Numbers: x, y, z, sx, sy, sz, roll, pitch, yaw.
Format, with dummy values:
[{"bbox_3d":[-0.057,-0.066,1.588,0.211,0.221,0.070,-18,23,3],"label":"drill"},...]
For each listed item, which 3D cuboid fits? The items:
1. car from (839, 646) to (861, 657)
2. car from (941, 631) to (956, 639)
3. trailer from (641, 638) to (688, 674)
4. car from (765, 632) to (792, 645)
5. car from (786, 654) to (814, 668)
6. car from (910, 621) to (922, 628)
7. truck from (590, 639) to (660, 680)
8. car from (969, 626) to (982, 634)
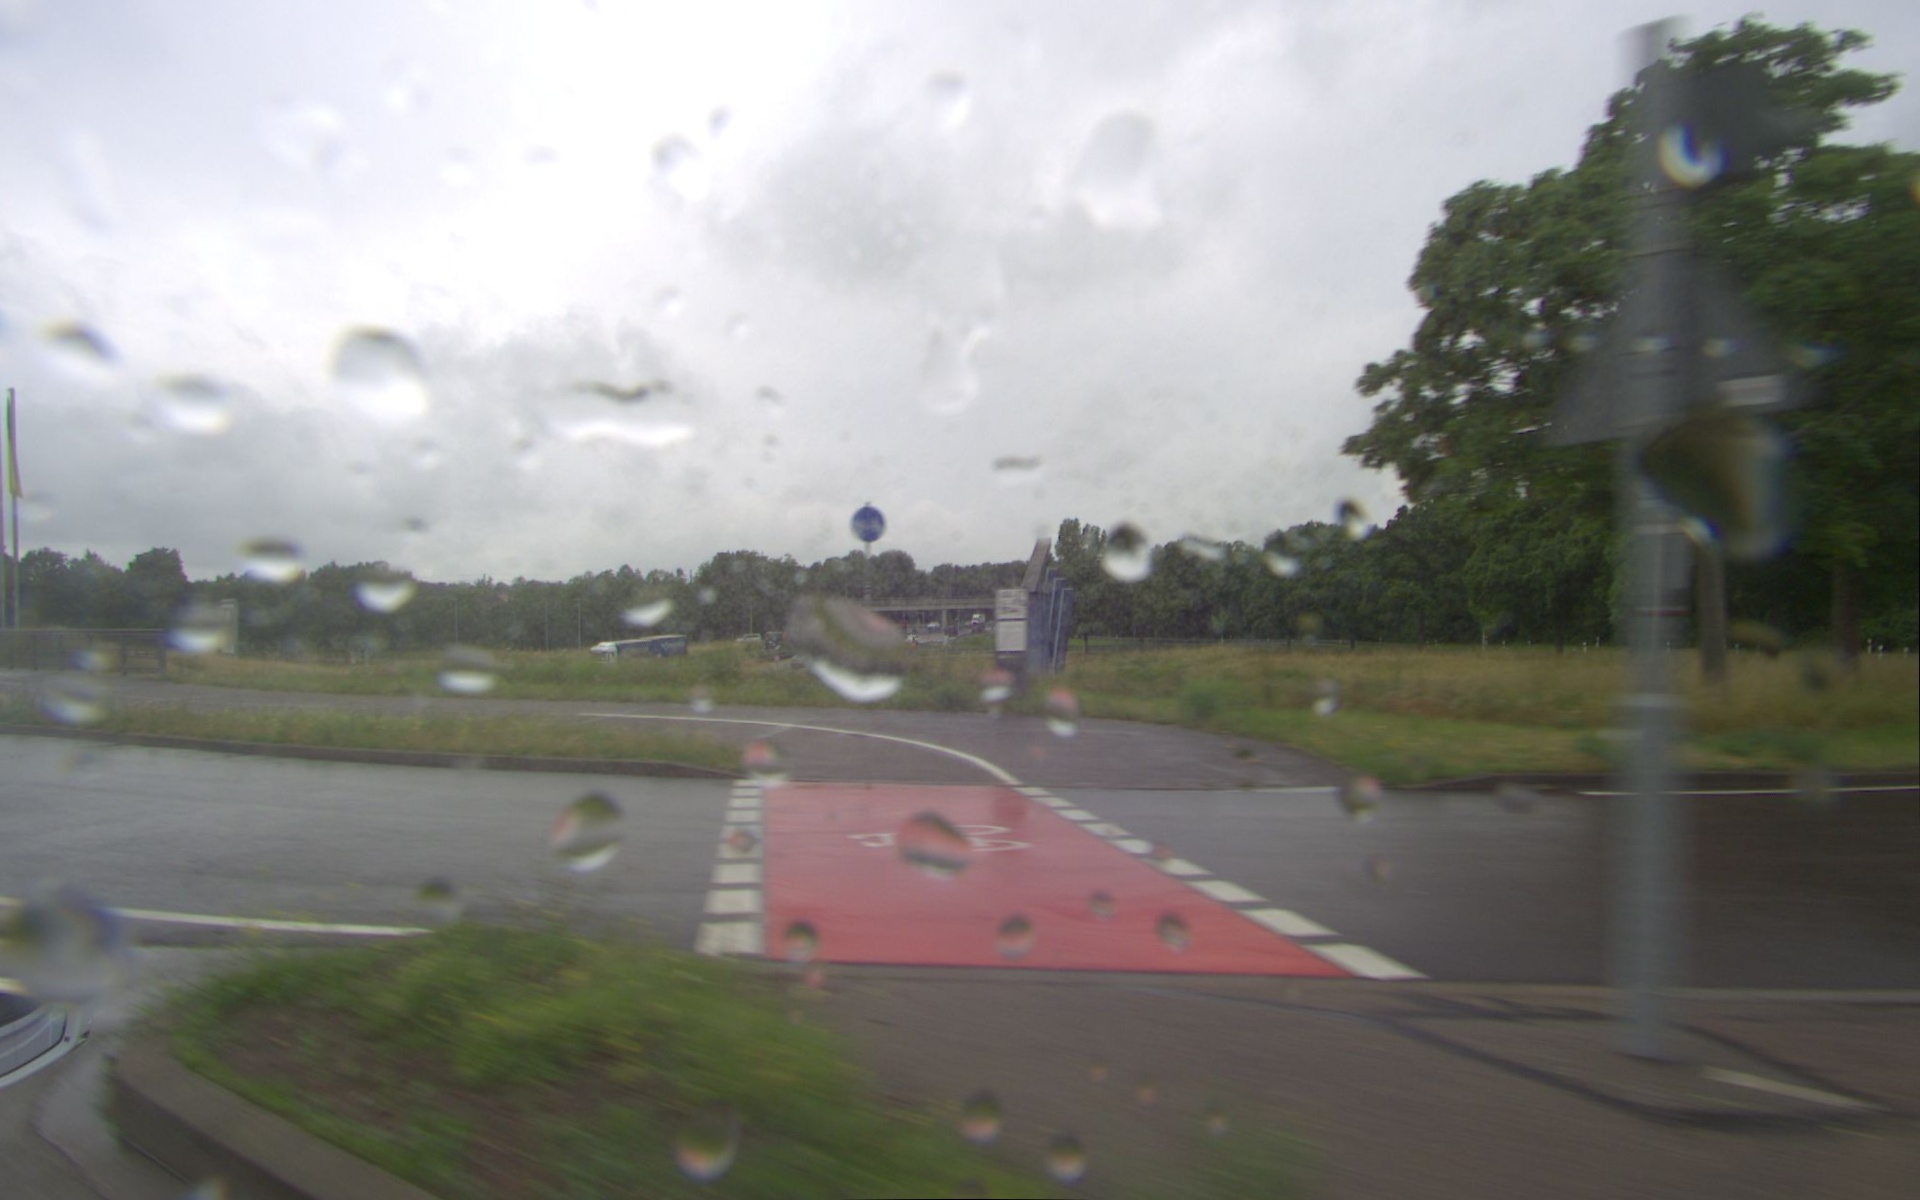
[{"bbox_3d":[-16.590,7.765,151.095,1.964,1.613,3.996,0,-1,16],"label":"car"},{"bbox_3d":[-2.290,7.164,203.386,1.964,1.613,3.996,0,-1,16],"label":"car"},{"bbox_3d":[-37.028,6.982,125.677,2.521,4.357,7.369,0,-1,12],"label":"trailer"},{"bbox_3d":[-28.776,6.096,158.912,2.255,1.990,5.616,0,-1,13],"label":"car"},{"bbox_3d":[-20.529,7.840,128.509,1.964,1.613,3.996,0,-1,16],"label":"car"},{"bbox_3d":[-10.777,5.987,246.088,1.963,1.720,4.742,-2,-1,12],"label":"car"},{"bbox_3d":[-38.890,6.825,116.705,2.521,4.357,10.939,0,-1,12],"label":"truck"},{"bbox_3d":[3.490,6.651,221.128,1.964,1.613,3.996,0,-1,16],"label":"car"}]
